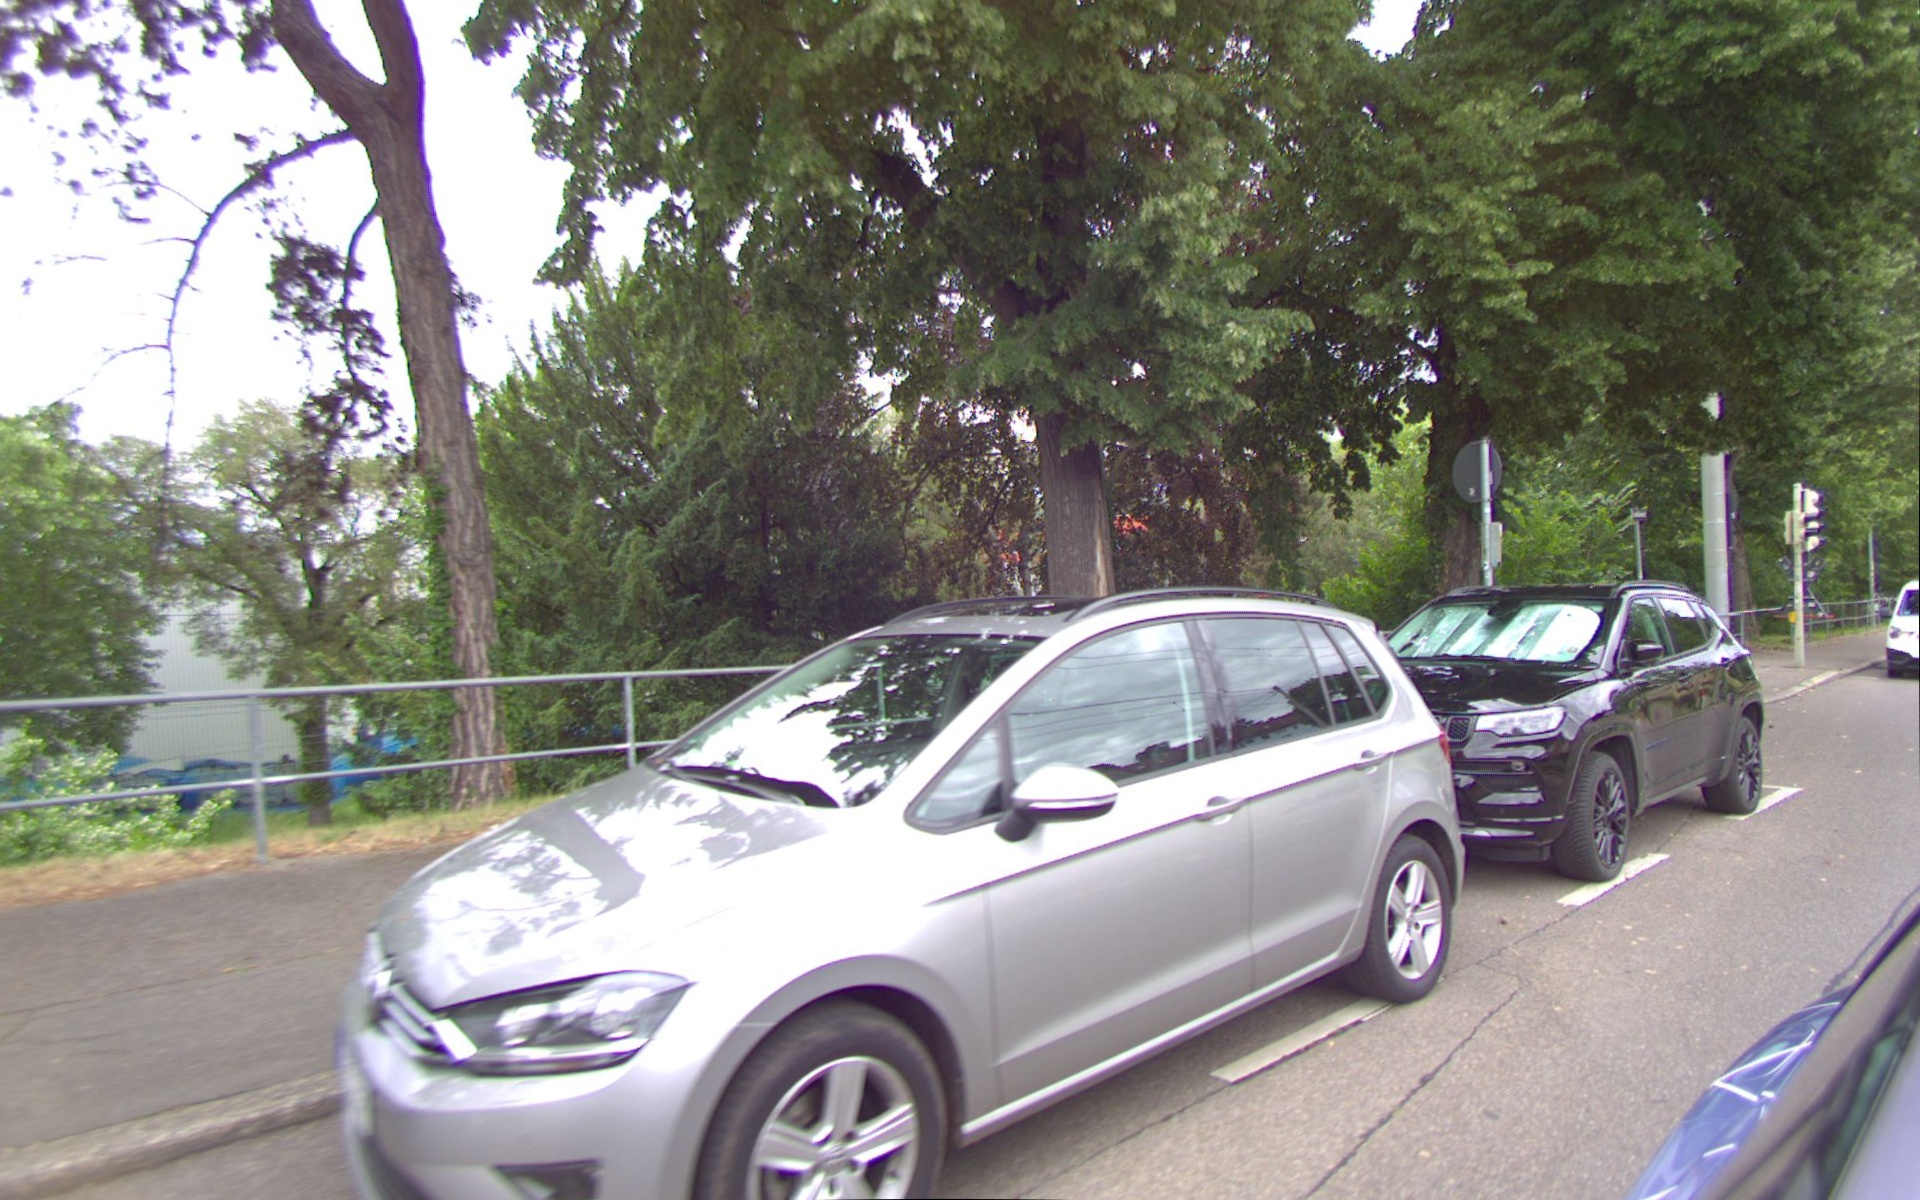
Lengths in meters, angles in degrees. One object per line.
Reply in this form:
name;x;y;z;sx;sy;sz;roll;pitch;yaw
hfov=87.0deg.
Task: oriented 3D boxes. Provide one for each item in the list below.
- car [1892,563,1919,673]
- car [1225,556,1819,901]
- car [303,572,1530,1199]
car;18.938;0.262;18.874;4.401;1.945;1.808;-2;1;-41
car;4.037;0.591;6.950;4.515;1.635;1.909;-1;0;-38
car;0.248;0.719;3.692;4.286;1.595;1.737;-1;0;-39
